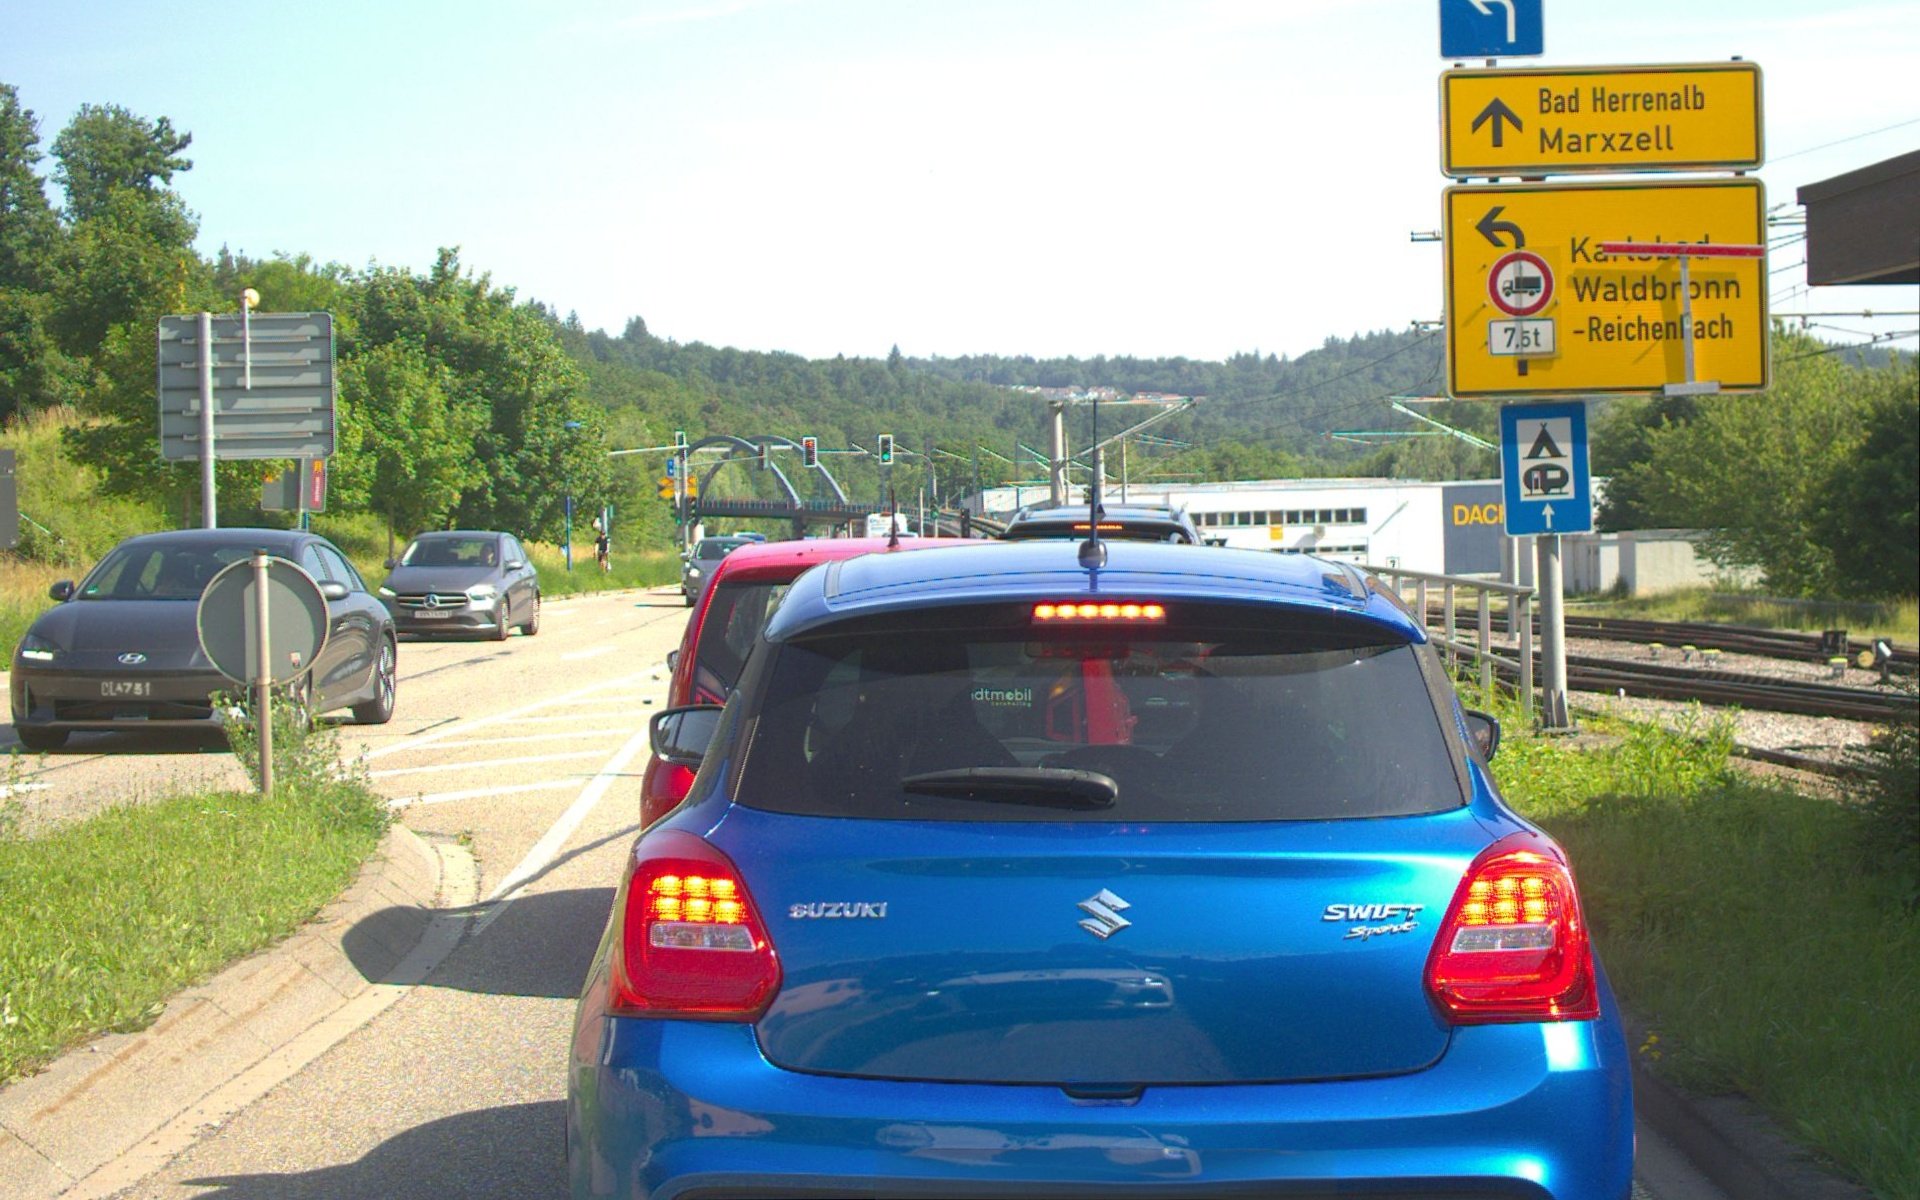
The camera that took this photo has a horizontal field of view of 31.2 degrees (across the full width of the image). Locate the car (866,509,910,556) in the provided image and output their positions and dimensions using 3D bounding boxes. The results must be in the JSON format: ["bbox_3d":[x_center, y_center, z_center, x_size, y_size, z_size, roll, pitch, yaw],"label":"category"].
[{"bbox_3d":[-3.355,-3.145,161.001,1.993,2.137,4.720,1,1,-1],"label":"car"}]

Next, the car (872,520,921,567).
[{"bbox_3d":[-2.661,-2.380,144.274,1.993,1.810,4.001,2,2,-1],"label":"car"}]

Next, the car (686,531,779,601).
[{"bbox_3d":[-4.848,-0.742,73.617,1.672,1.436,3.840,1,1,1],"label":"car"}]

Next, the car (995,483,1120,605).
[{"bbox_3d":[1.681,-1.027,60.804,1.993,2.006,4.001,2,2,-1],"label":"car"}]

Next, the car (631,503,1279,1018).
[{"bbox_3d":[0.015,0.465,12.712,1.993,1.566,4.000,1,1,1],"label":"car"}]

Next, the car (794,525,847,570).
[{"bbox_3d":[-5.662,-2.146,140.152,1.993,1.777,4.000,1,1,-1],"label":"car"}]

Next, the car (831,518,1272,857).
[{"bbox_3d":[0.455,0.347,17.979,1.993,1.526,4.602,-1,1,1],"label":"car"}]

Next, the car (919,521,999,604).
[{"bbox_3d":[-0.053,-1.017,90.142,1.993,2.006,4.001,2,2,-1],"label":"car"}]

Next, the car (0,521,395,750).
[{"bbox_3d":[-5.387,0.174,24.477,1.791,1.465,4.716,0,1,2],"label":"car"}]

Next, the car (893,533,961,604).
[{"bbox_3d":[-1.020,-0.992,106.053,1.993,2.006,4.001,2,2,-1],"label":"car"}]

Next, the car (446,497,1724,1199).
[{"bbox_3d":[0.137,0.579,7.042,1.868,1.543,4.000,0,1,-1],"label":"car"}]

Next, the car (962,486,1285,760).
[{"bbox_3d":[1.073,0.088,24.061,1.993,1.681,4.497,2,1,1],"label":"car"}]

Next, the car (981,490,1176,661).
[{"bbox_3d":[1.279,-0.305,38.048,1.993,1.730,4.000,2,1,1],"label":"car"}]

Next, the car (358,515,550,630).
[{"bbox_3d":[-7.189,-0.437,49.294,1.993,1.558,4.509,0,1,1],"label":"car"}]

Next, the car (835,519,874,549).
[{"bbox_3d":[-5.778,-3.629,188.568,1.993,1.549,4.215,1,1,-1],"label":"car"}]

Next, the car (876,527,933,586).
[{"bbox_3d":[-2.017,-1.623,125.954,1.993,2.006,4.001,2,2,-1],"label":"car"}]

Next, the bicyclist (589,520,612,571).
[{"bbox_3d":[-10.764,-1.637,102.928,0.629,1.502,0.506,2,2,-3],"label":"bicyclist"}]

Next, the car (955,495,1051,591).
[{"bbox_3d":[0.939,-1.320,77.405,1.993,2.006,4.001,2,2,-1],"label":"car"}]
